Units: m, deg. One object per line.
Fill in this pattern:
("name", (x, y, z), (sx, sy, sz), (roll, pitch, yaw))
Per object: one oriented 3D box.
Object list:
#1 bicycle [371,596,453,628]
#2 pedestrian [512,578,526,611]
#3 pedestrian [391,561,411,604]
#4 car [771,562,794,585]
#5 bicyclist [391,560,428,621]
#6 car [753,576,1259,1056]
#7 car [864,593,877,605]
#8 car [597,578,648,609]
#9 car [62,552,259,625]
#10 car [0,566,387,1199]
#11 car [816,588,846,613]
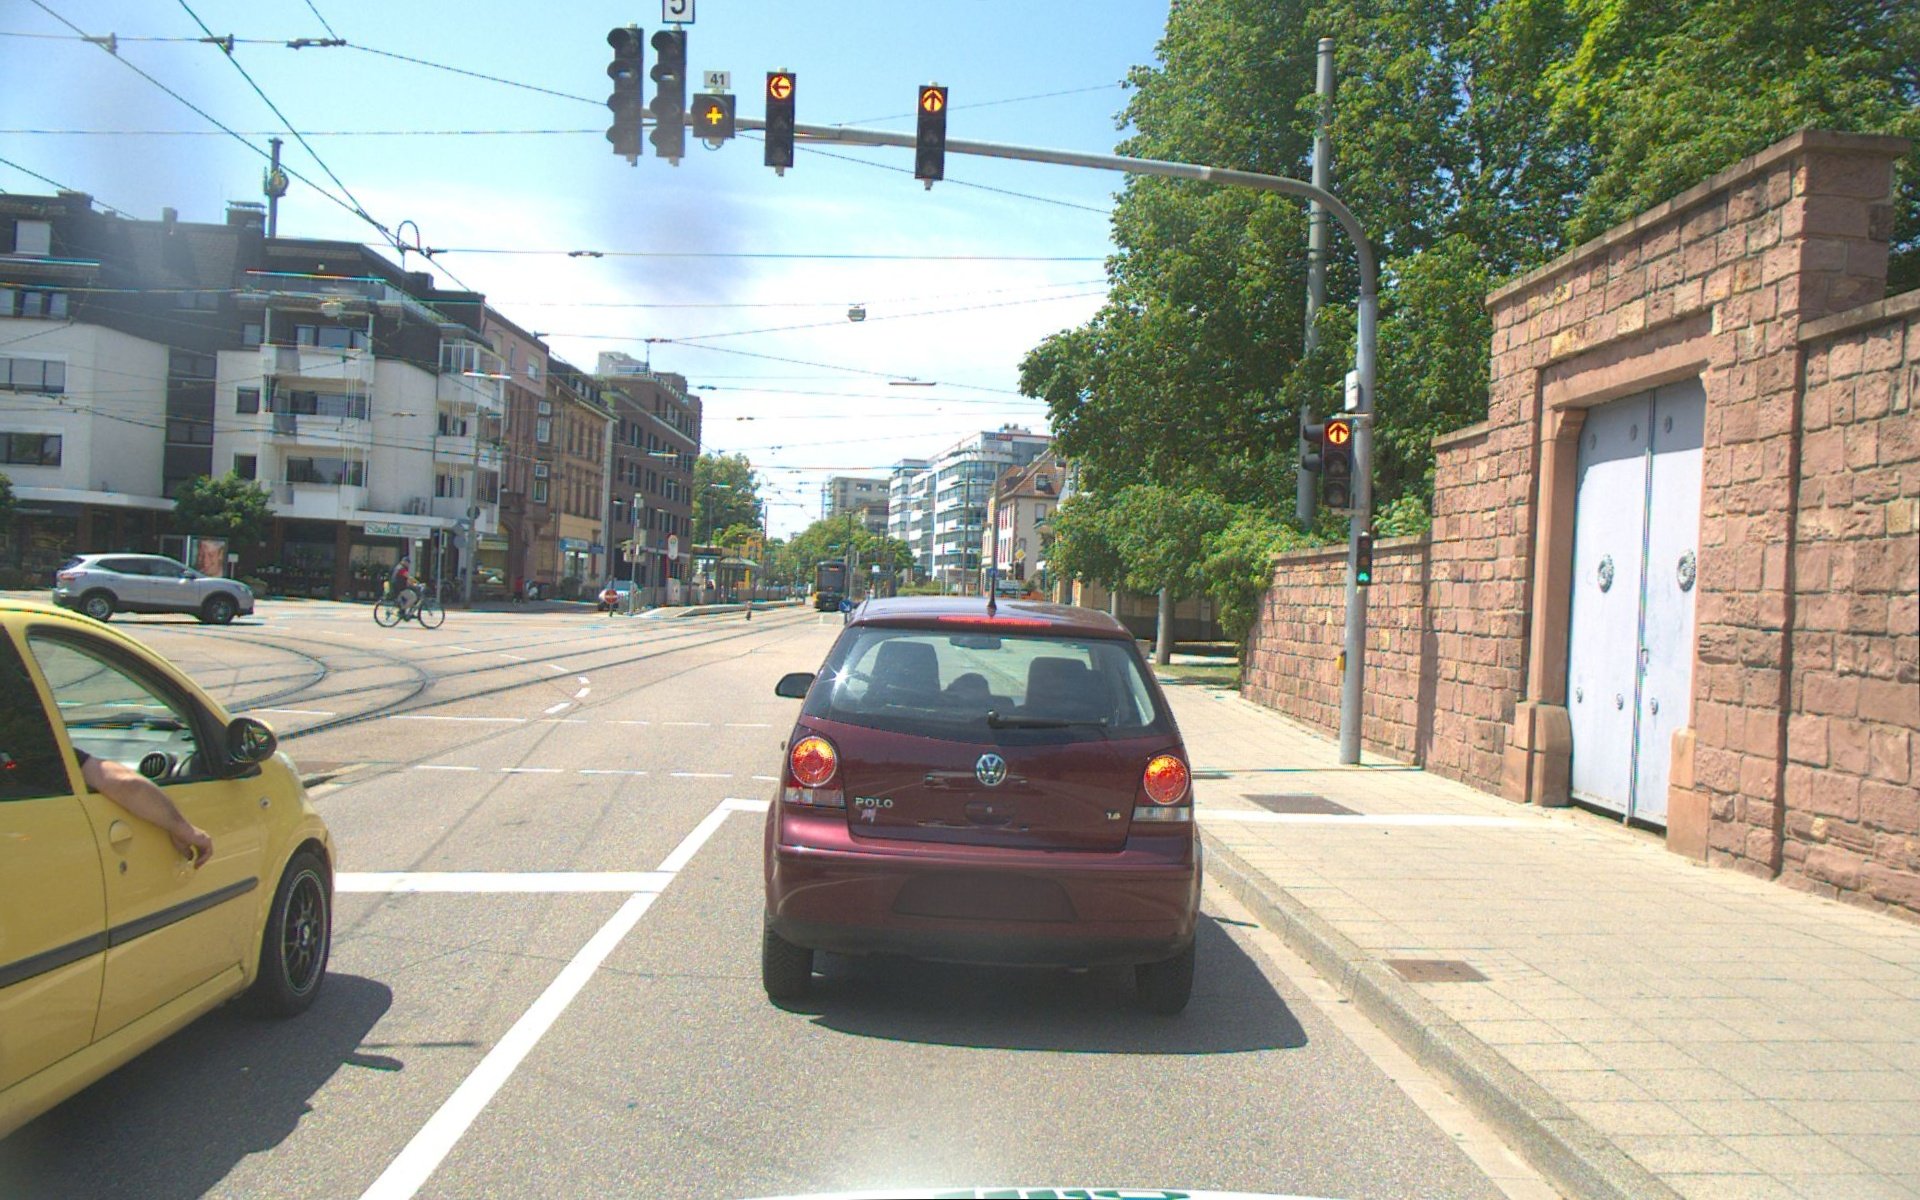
("bicycle", (-14.088, 0.322, 42.559), (1.969, 0.797, 0.459), (2, -1, -41))
("pedestrian", (-21.614, -0.263, 81.045), (0.473, 1.568, 0.538), (1, -1, 2))
("pedestrian", (-23.640, -0.723, 69.940), (0.497, 1.785, 0.606), (0, -1, 45))
("car", (-16.469, -2.411, 153.344), (1.700, 2.049, 3.999), (2, 0, -1))
("bicyclist", (-14.125, -0.239, 42.434), (0.745, 1.527, 0.475), (2, -1, -41))
("car", (0.083, 0.694, 7.385), (1.578, 1.489, 4.084), (2, 0, -2))
("car", (-10.885, -0.150, 201.128), (1.541, 1.440, 3.719), (0, 0, -2))
("car", (-17.184, -0.347, 84.369), (1.654, 1.488, 4.000), (2, 0, 0))
("car", (-19.138, -0.251, 39.629), (4.097, 1.612, 1.919), (1, -1, -32))
("car", (-2.912, 0.644, 4.403), (1.688, 1.470, 3.291), (0, 1, -2))
("car", (-9.036, 0.050, 116.149), (1.899, 1.670, 3.998), (1, -1, -2))
